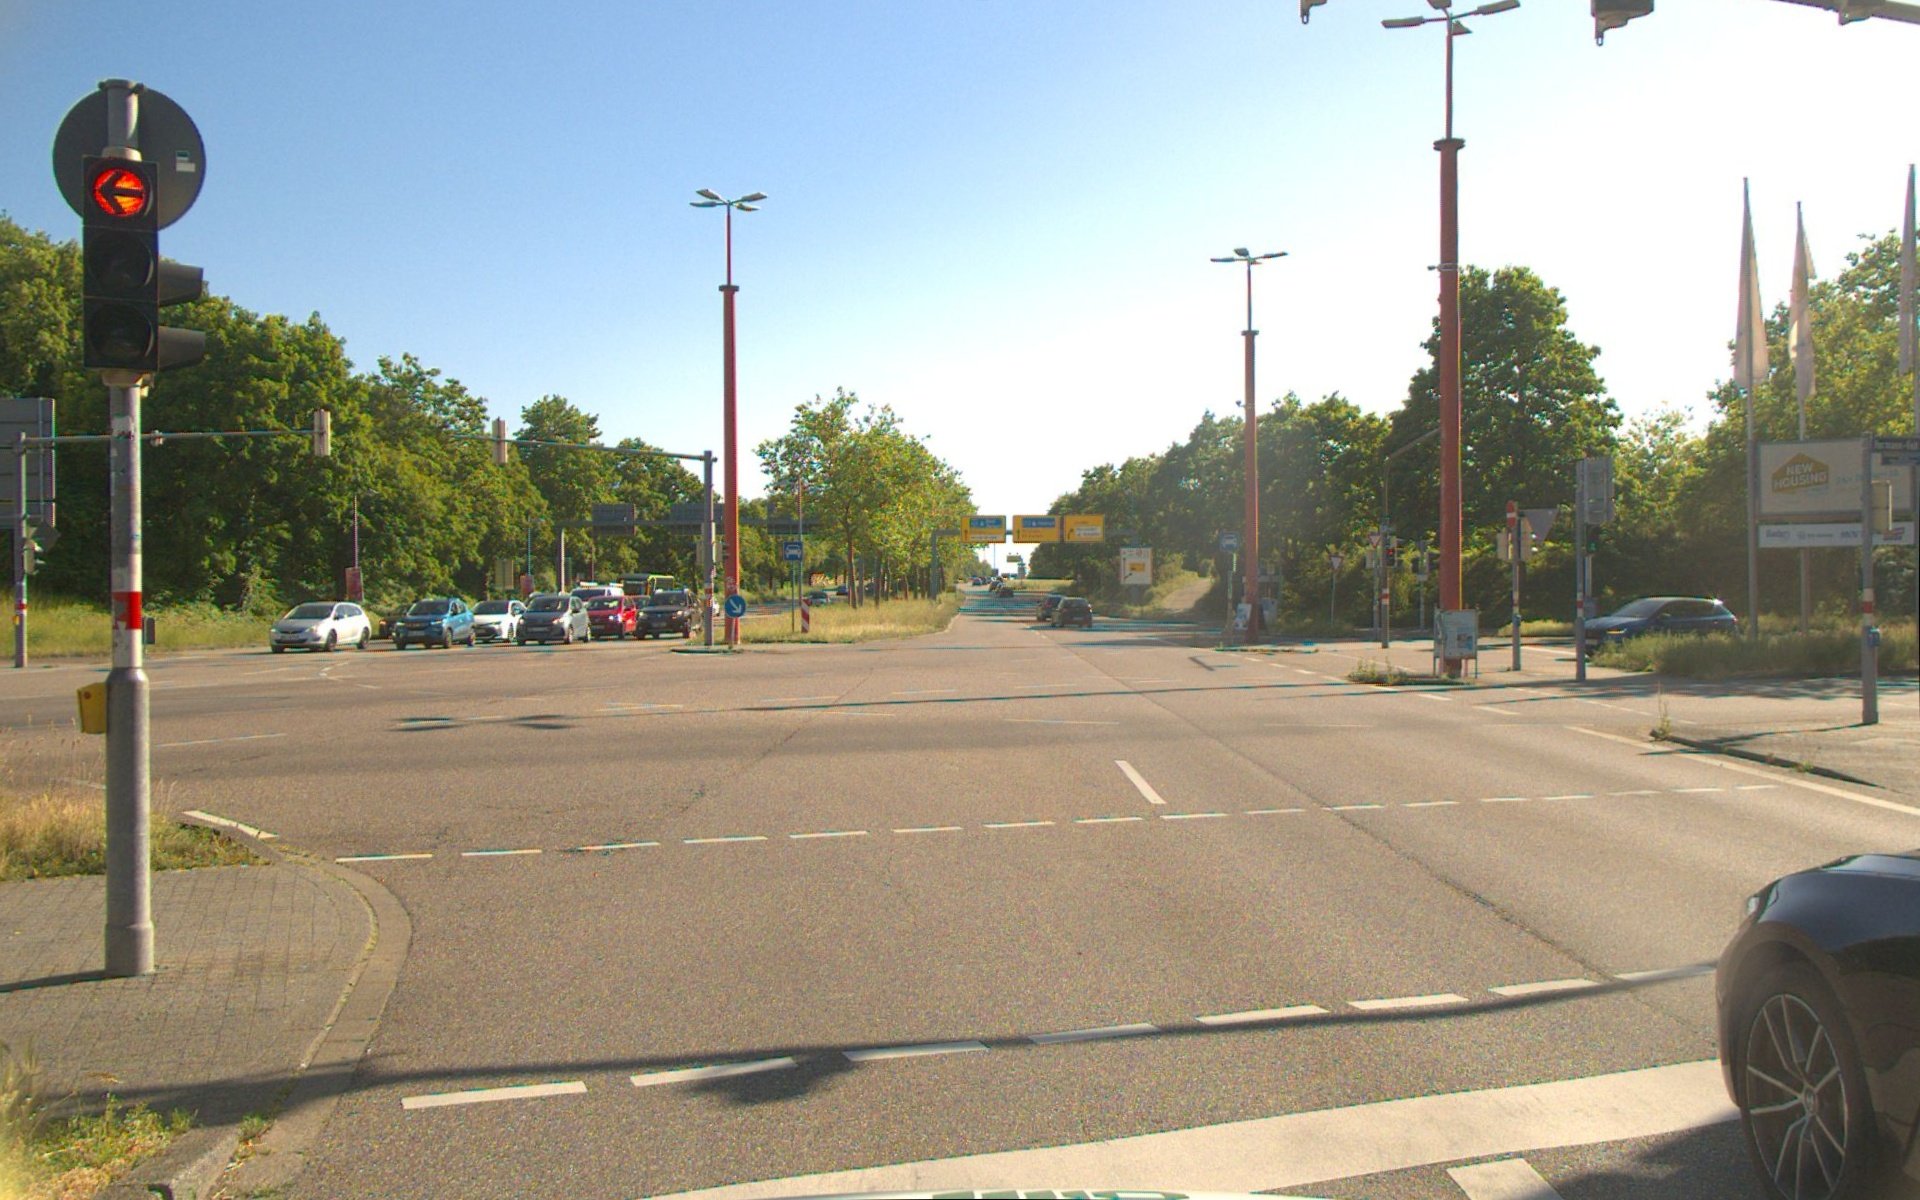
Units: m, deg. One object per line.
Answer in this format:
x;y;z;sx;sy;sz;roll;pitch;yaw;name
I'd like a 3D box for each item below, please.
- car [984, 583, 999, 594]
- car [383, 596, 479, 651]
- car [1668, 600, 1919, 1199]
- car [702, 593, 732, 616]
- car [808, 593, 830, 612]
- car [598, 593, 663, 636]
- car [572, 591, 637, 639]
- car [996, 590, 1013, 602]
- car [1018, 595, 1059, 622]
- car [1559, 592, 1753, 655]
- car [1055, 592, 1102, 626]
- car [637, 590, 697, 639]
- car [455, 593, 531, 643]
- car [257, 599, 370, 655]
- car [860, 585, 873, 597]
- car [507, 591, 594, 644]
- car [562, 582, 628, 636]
4.948;-1.790;260.335;2.116;1.601;4.277;0;0;-4;car
-16.211;0.679;50.887;1.955;1.601;4.116;0;0;-5;car
2.972;0.715;2.358;1.953;1.419;4.476;0;0;-1;car
-17.221;0.315;117.257;1.840;1.601;3.943;0;0;-5;car
-12.236;0.207;143.427;1.840;1.601;4.116;0;0;-5;car
-12.714;0.524;64.043;1.954;1.601;4.117;0;0;-4;car
-12.482;0.503;58.268;1.956;1.601;4.113;0;0;-8;car
5.762;-0.532;214.245;2.114;1.601;4.281;0;0;1;car
4.704;0.485;99.081;2.115;1.601;4.581;0;0;-2;car
16.933;0.540;40.269;4.202;1.453;1.874;0;0;-19;car
5.790;0.422;81.278;2.114;1.601;4.282;0;0;2;car
-9.877;0.468;55.987;1.841;1.601;4.113;0;0;-8;car
-15.994;0.593;56.780;1.956;1.601;4.113;-1;0;-8;car
-19.589;0.782;50.294;1.954;1.601;4.118;0;0;-3;car
-13.516;-1.301;239.162;1.840;1.601;4.116;0;0;-5;car
-12.808;0.518;51.961;1.954;1.601;4.118;0;0;-4;car
-15.675;0.381;71.261;2.021;2.231;4.376;0;0;-3;car
